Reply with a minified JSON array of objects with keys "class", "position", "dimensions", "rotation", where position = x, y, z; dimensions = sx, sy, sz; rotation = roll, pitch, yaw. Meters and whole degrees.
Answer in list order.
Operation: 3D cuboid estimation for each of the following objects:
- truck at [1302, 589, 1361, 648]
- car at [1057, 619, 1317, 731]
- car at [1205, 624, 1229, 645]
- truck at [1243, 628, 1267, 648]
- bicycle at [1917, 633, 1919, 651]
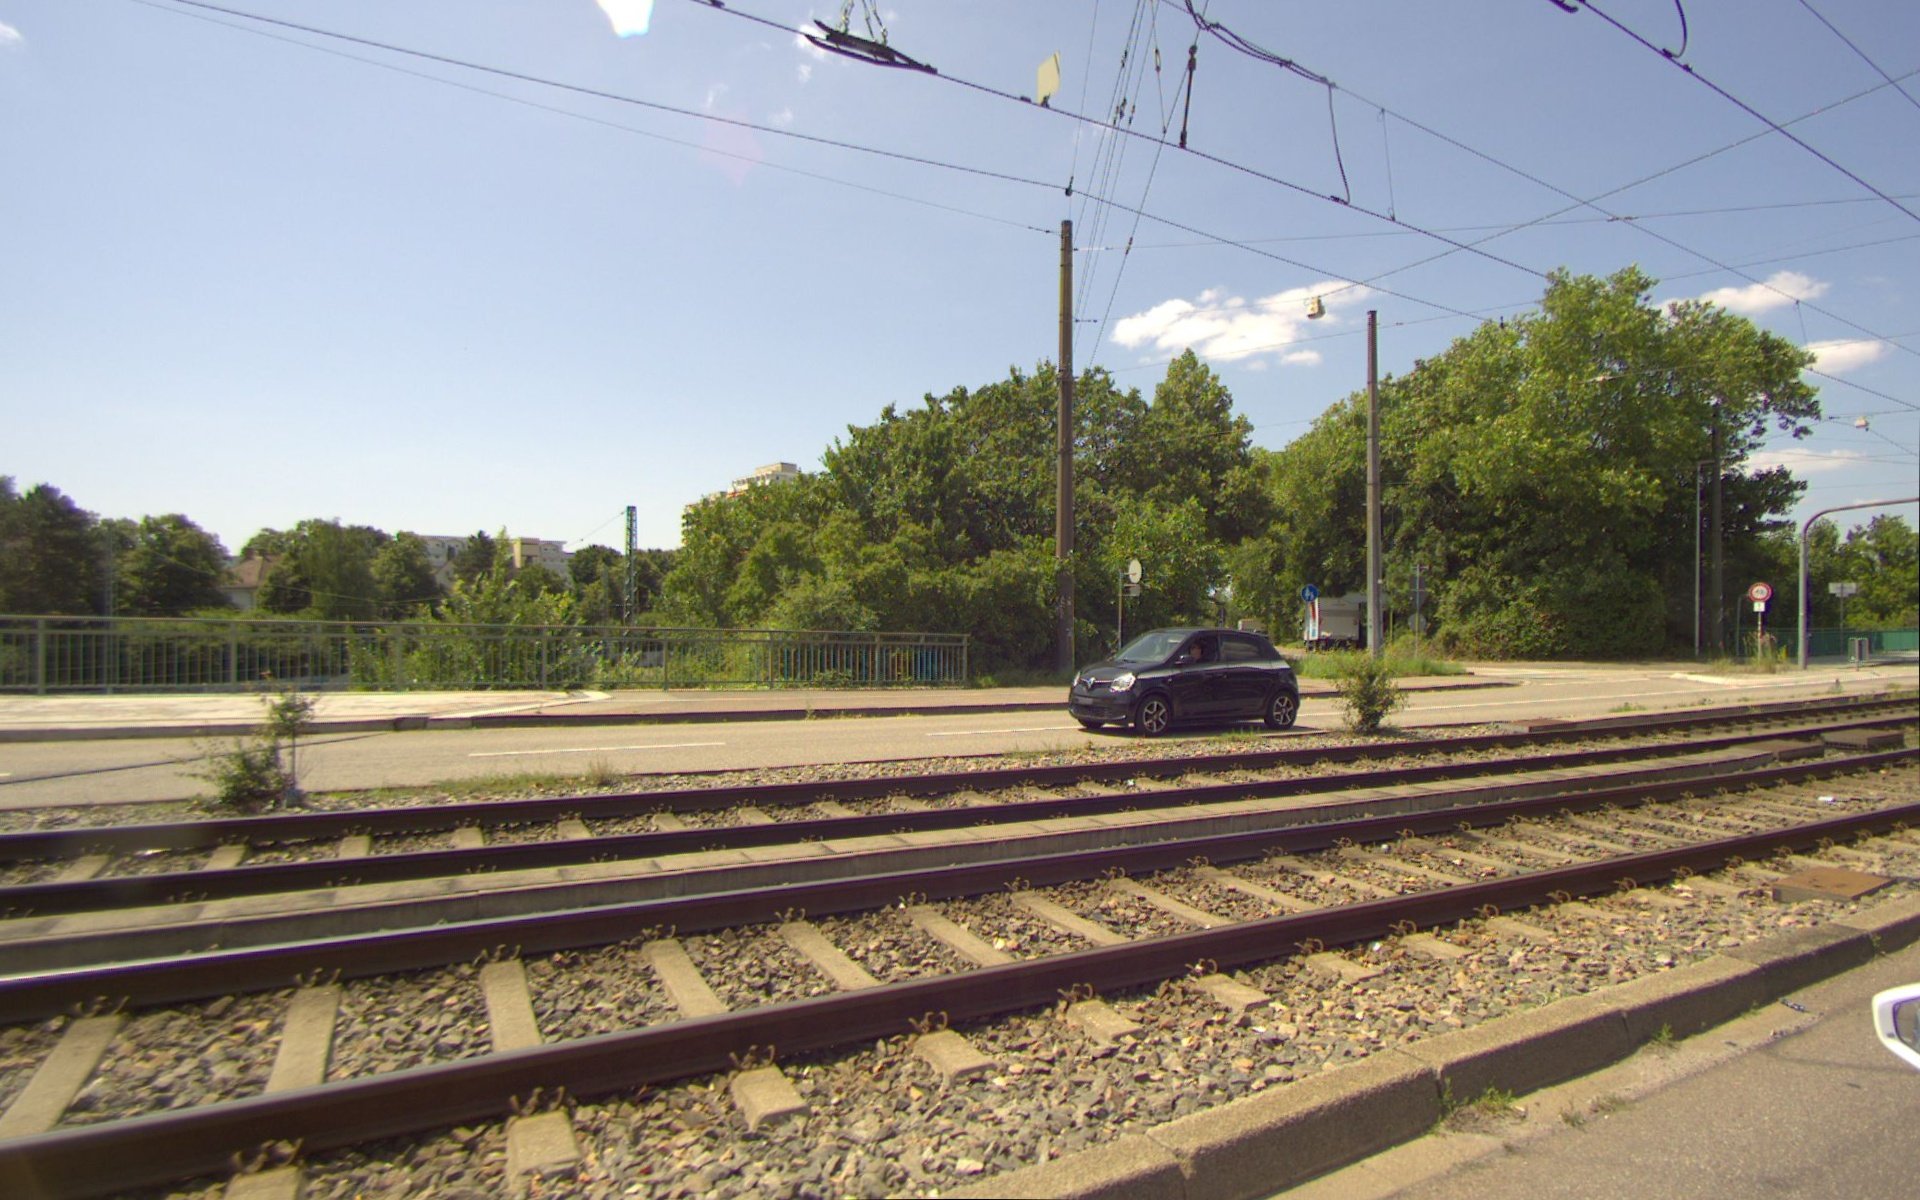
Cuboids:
[{"class":"truck","position":[24.709,1.206,67.006],"dimensions":[2.790,3.704,5.294],"rotation":[2,0,12]},{"class":"car","position":[3.485,1.078,15.343],"dimensions":[3.687,1.530,1.698],"rotation":[1,-1,-29]},{"class":"car","position":[26.273,3.529,102.610],"dimensions":[1.959,2.040,4.002],"rotation":[1,0,9]},{"class":"truck","position":[33.802,4.287,115.158],"dimensions":[1.959,2.041,4.002],"rotation":[1,1,7]},{"class":"bicycle","position":[47.947,2.071,49.659],"dimensions":[1.722,0.880,0.466],"rotation":[1,0,-31]}]
